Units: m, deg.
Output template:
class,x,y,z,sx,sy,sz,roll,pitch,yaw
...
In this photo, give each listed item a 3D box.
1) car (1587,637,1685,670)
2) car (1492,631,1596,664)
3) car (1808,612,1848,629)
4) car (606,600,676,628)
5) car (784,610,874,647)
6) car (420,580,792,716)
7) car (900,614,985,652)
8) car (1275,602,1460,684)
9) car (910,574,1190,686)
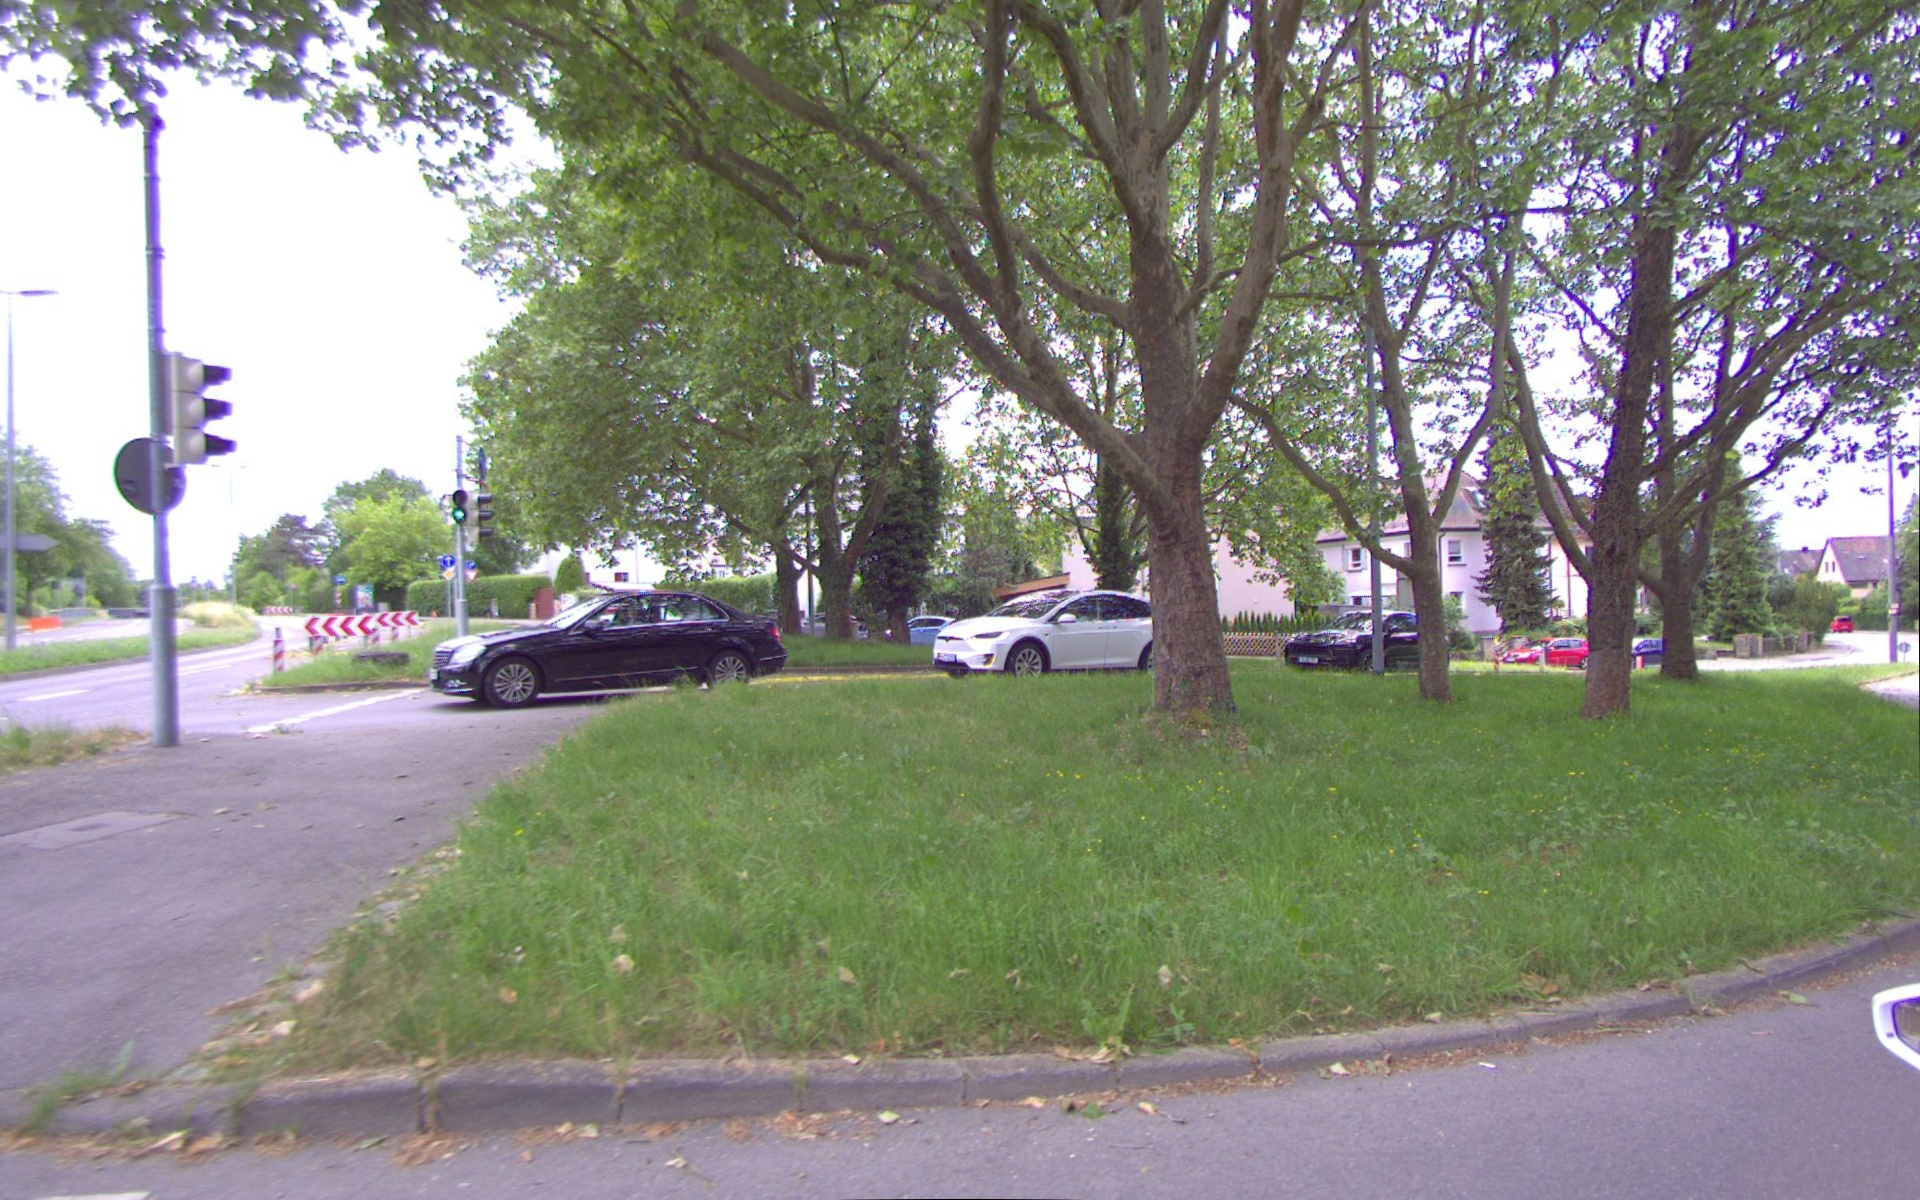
class,x,y,z,sx,sy,sz,roll,pitch,yaw
car,32.529,2.559,48.349,4.247,1.493,1.726,0,-1,-19
car,27.510,2.225,47.336,4.206,1.493,1.728,0,-1,-14
car,95.480,2.233,110.532,1.732,1.821,4.947,-1,-1,21
car,-18.791,0.836,59.261,1.582,1.537,3.815,0,-1,32
car,-6.262,1.336,48.184,3.916,1.534,1.662,2,2,13
car,-4.580,0.585,13.285,4.344,1.537,1.745,1,-1,-36
car,-0.798,1.520,47.095,3.702,1.576,1.784,2,2,9
car,9.316,0.896,22.817,4.567,1.613,1.745,-1,1,-36
car,1.666,0.426,17.584,4.858,1.680,1.839,-2,1,-36
